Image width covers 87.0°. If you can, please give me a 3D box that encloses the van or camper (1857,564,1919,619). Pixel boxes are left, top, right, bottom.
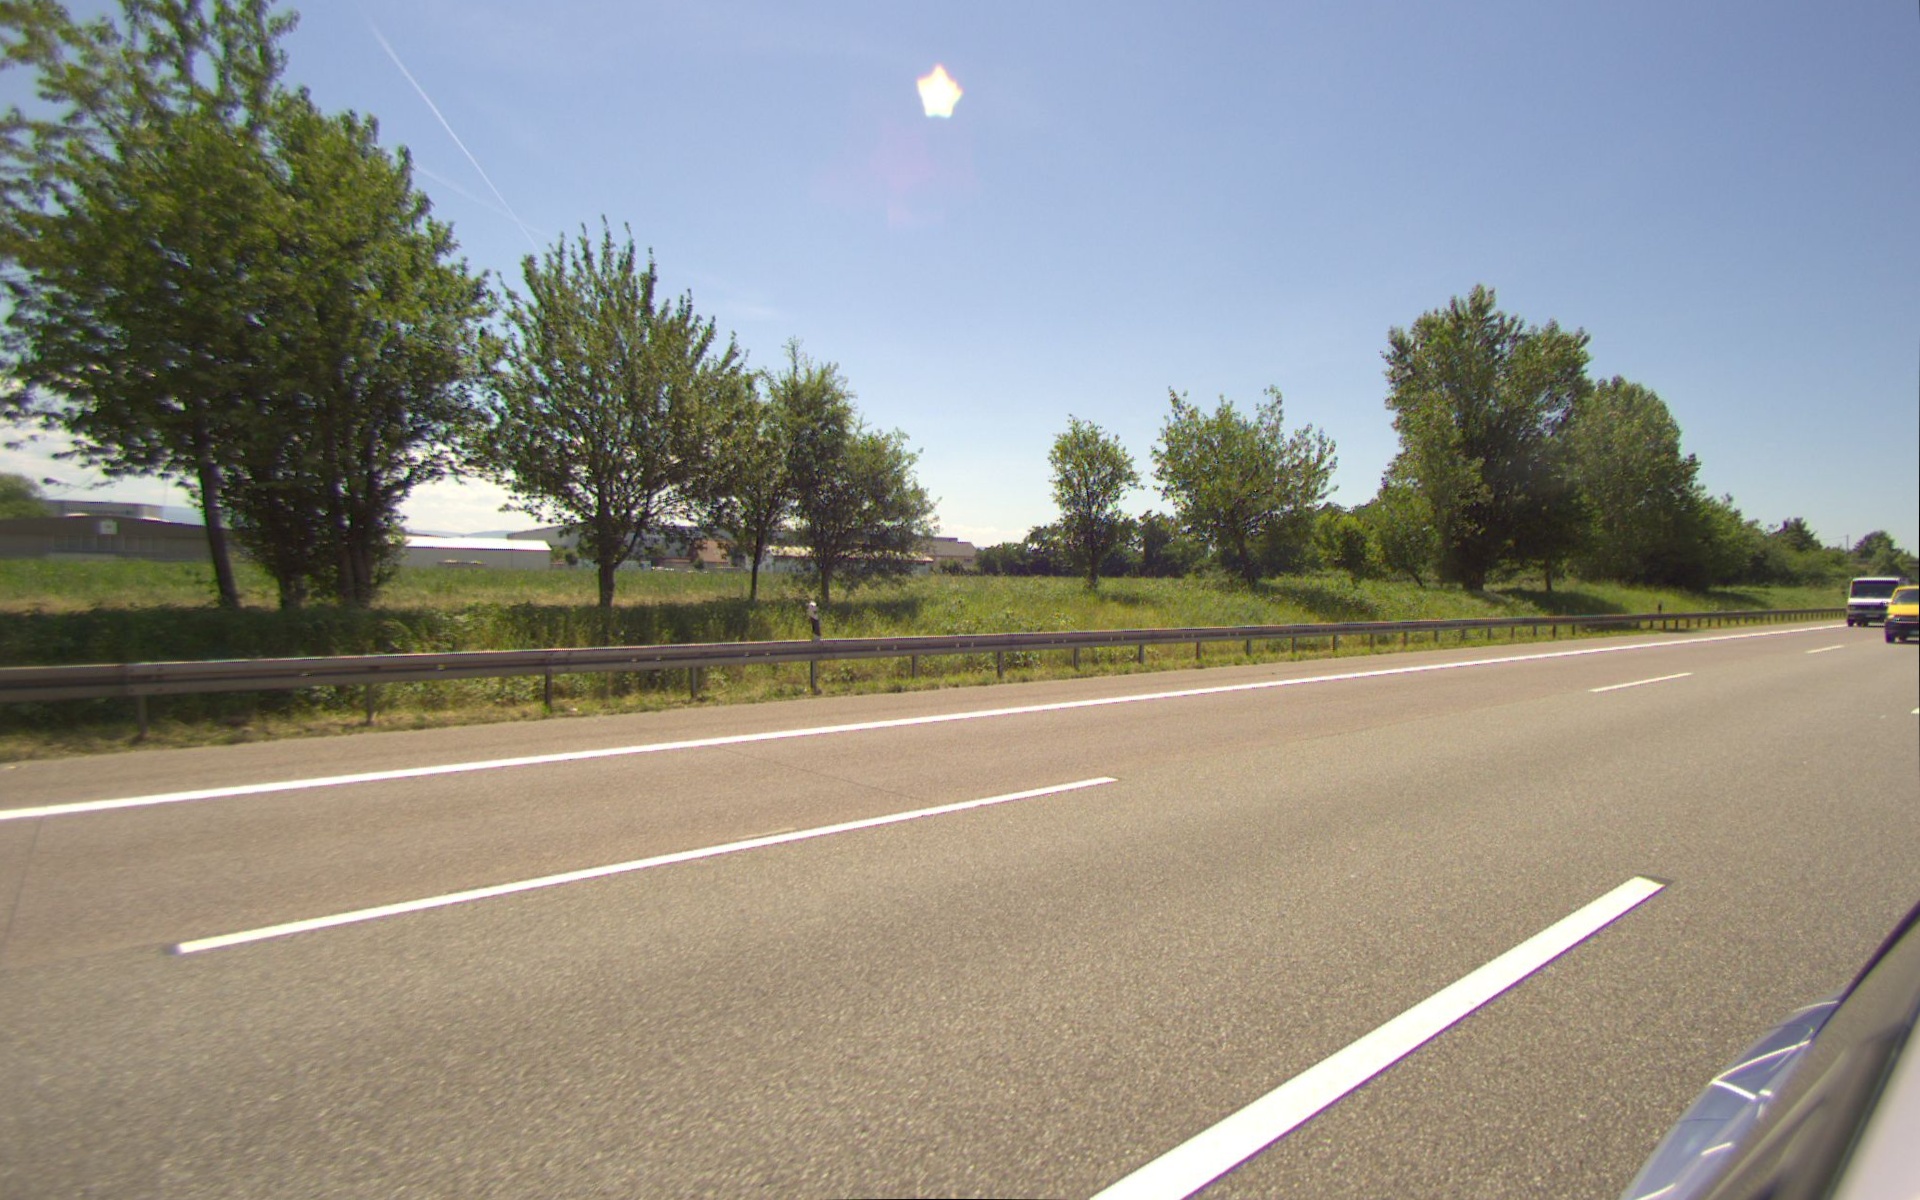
[{"bbox_3d":[49.548,-0.468,53.810,6.258,2.737,2.116,-1,0,-42],"label":"van or camper"}]

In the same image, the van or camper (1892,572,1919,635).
[{"bbox_3d":[33.487,0.098,34.364,5.781,2.029,2.062,0,1,-41],"label":"van or camper"}]
